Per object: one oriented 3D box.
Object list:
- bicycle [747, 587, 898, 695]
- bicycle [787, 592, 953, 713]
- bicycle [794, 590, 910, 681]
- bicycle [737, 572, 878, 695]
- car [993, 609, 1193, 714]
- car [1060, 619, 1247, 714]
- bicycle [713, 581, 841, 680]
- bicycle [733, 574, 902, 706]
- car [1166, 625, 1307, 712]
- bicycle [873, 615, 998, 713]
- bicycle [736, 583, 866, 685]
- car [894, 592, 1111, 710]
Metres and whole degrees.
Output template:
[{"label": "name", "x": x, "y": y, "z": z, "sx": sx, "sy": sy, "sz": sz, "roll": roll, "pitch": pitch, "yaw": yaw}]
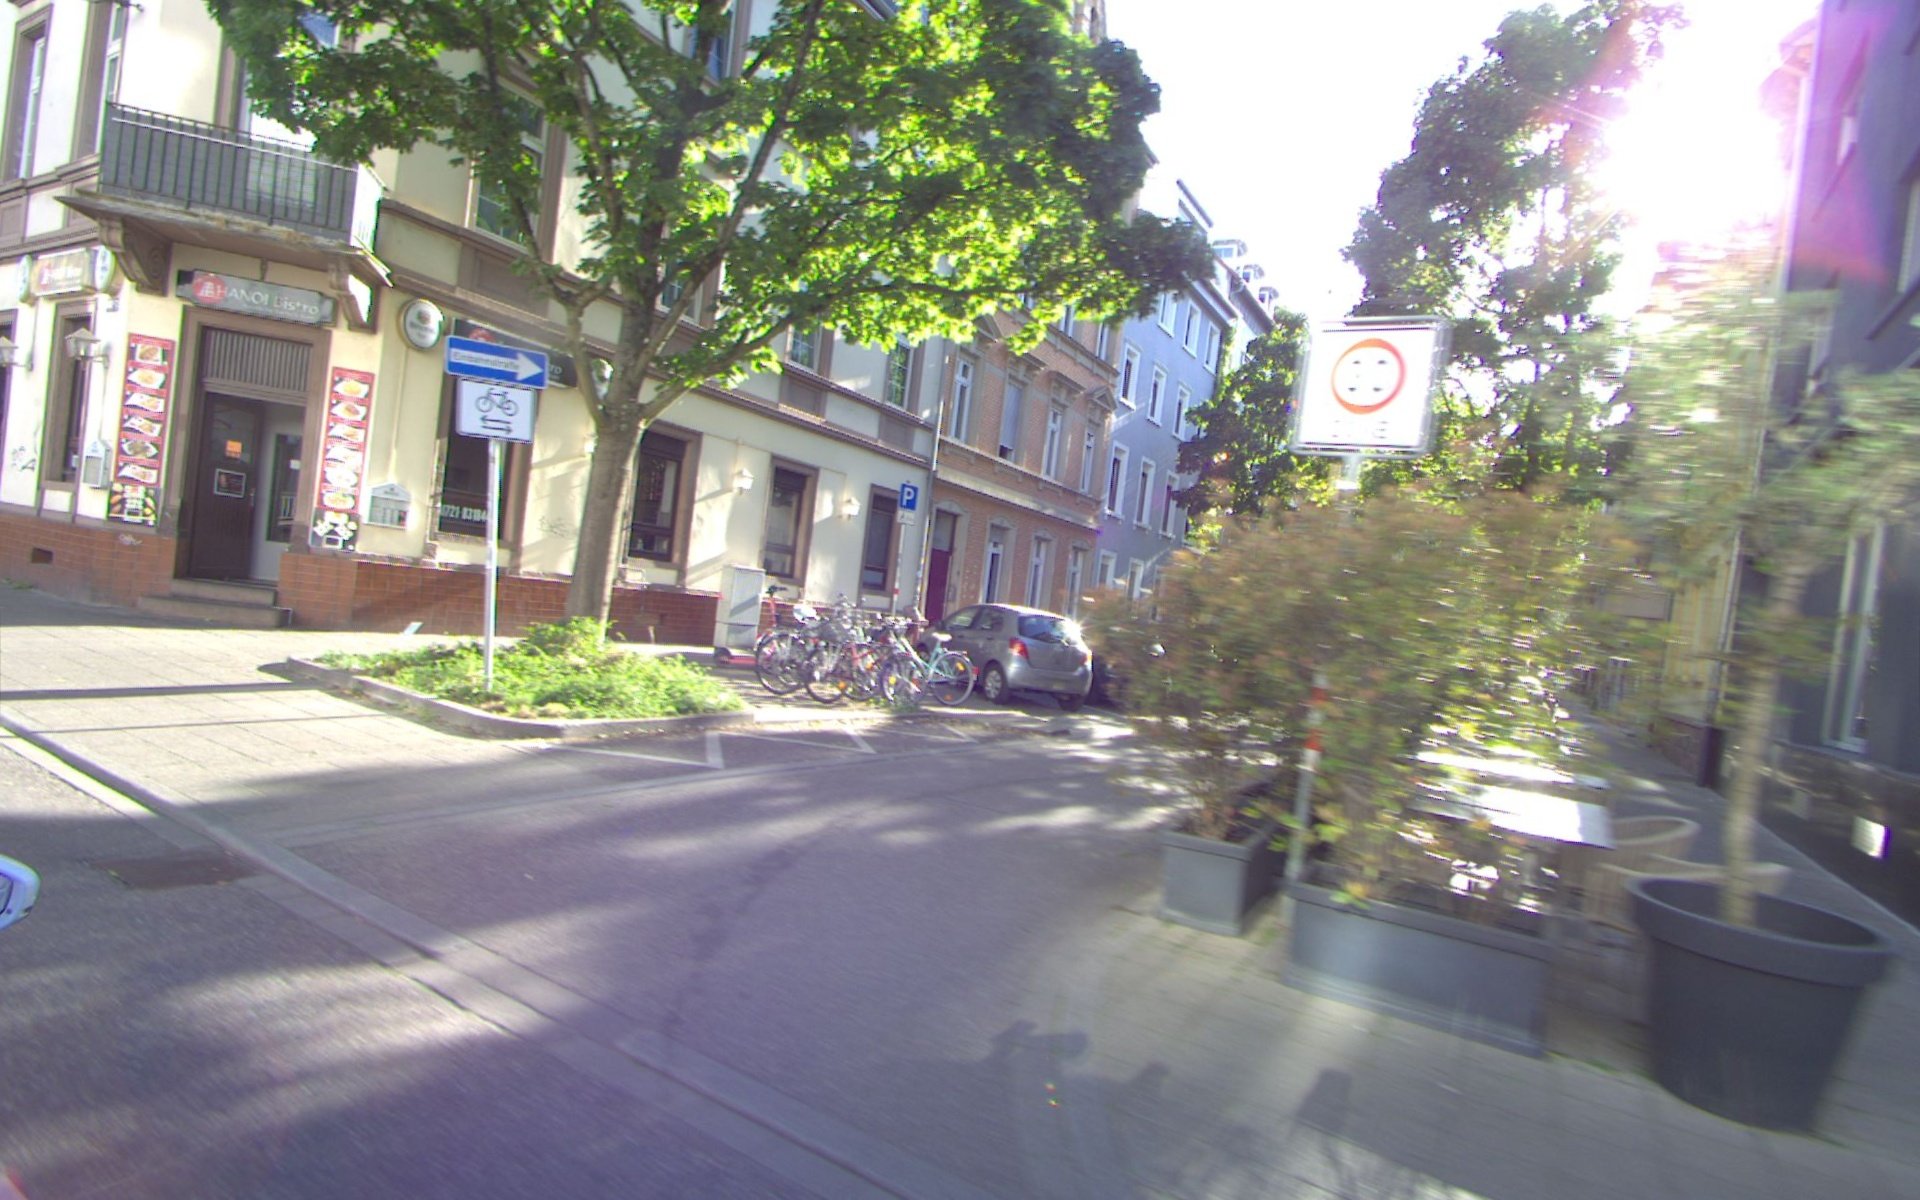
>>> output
[{"label": "bicycle", "x": -1.814, "y": 0.562, "z": 13.402, "sx": 1.827, "sy": 1.137, "sz": 0.344, "roll": 10, "pitch": 2, "yaw": -26}, {"label": "bicycle", "x": -1.065, "y": 0.646, "z": 12.122, "sx": 1.827, "sy": 1.175, "sz": 0.344, "roll": 10, "pitch": 2, "yaw": -26}, {"label": "bicycle", "x": -1.641, "y": 0.555, "z": 15.362, "sx": 1.575, "sy": 1.137, "sz": 0.344, "roll": 10, "pitch": 2, "yaw": -26}, {"label": "bicycle", "x": -1.925, "y": 0.438, "z": 12.786, "sx": 1.553, "sy": 1.310, "sz": 0.344, "roll": 10, "pitch": 2, "yaw": -26}, {"label": "car", "x": 2.433, "y": 1.116, "z": 19.314, "sx": 1.690, "sy": 1.528, "sz": 3.784, "roll": 9, "pitch": -2, "yaw": -31}, {"label": "car", "x": 4.018, "y": 1.355, "z": 21.428, "sx": 1.690, "sy": 1.528, "sz": 3.784, "roll": 9, "pitch": -2, "yaw": -31}, {"label": "bicycle", "x": -2.564, "y": 0.439, "z": 14.122, "sx": 1.575, "sy": 1.137, "sz": 0.344, "roll": 10, "pitch": 2, "yaw": -26}, {"label": "bicycle", "x": -1.709, "y": 0.507, "z": 12.213, "sx": 1.827, "sy": 1.310, "sz": 0.344, "roll": 10, "pitch": 2, "yaw": -26}, {"label": "car", "x": 7.072, "y": 1.720, "z": 26.032, "sx": 1.374, "sy": 1.841, "sz": 3.314, "roll": 8, "pitch": -2, "yaw": -31}, {"label": "bicycle", "x": -0.318, "y": 0.867, "z": 13.502, "sx": 1.514, "sy": 1.082, "sz": 0.344, "roll": 10, "pitch": 2, "yaw": -26}, {"label": "bicycle", "x": -2.183, "y": 0.479, "z": 13.851, "sx": 1.575, "sy": 1.137, "sz": 0.344, "roll": 10, "pitch": 2, "yaw": -26}, {"label": "car", "x": 0.589, "y": 0.781, "z": 16.888, "sx": 1.690, "sy": 1.528, "sz": 3.784, "roll": 9, "pitch": -2, "yaw": -31}]
